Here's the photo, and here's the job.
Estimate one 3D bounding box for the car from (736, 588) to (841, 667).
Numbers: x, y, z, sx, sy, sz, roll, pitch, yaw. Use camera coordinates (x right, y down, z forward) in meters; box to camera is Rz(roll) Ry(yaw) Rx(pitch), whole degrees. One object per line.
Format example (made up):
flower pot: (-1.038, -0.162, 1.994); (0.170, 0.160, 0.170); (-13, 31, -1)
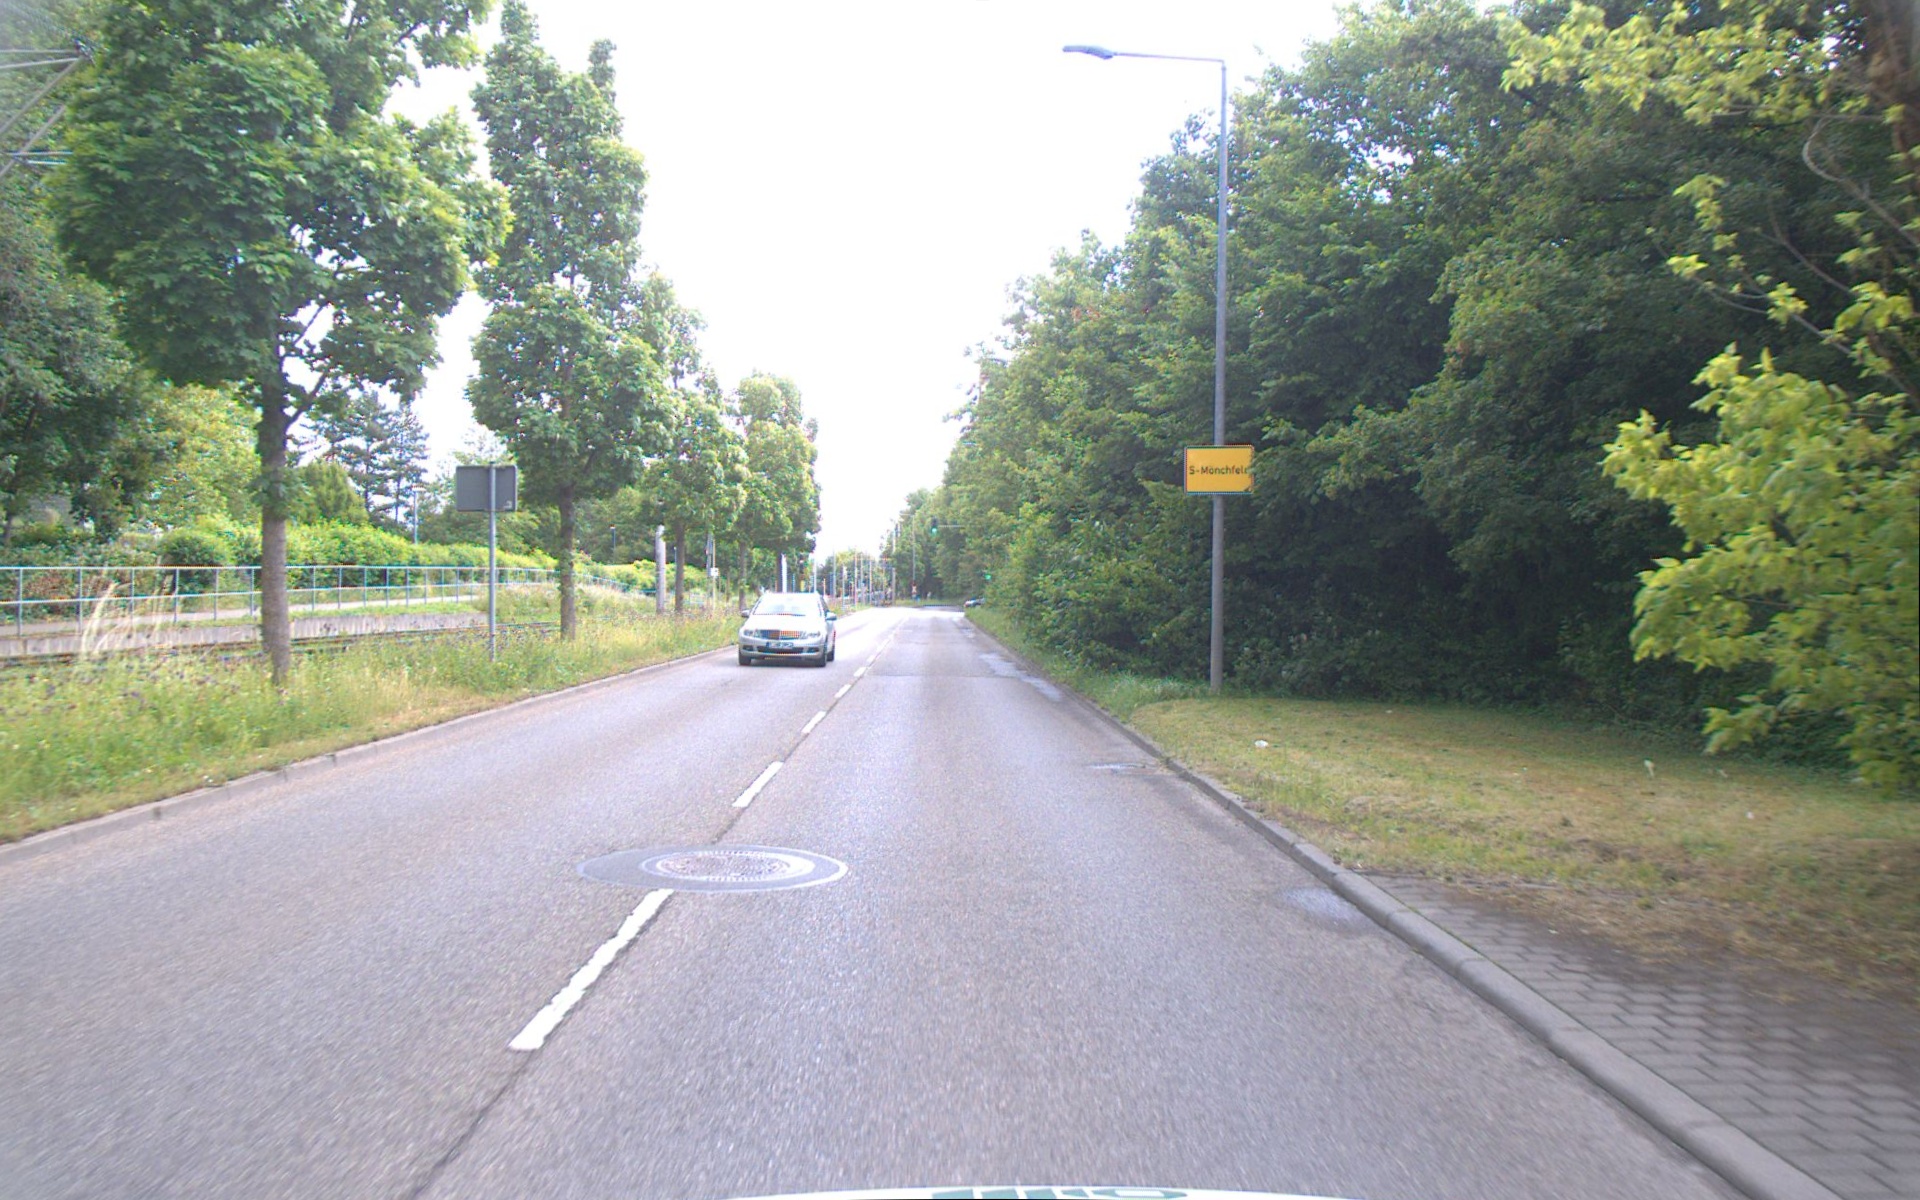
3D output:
car: (-3.467, 0.519, 34.148); (1.738, 1.494, 4.241); (1, 0, -1)
